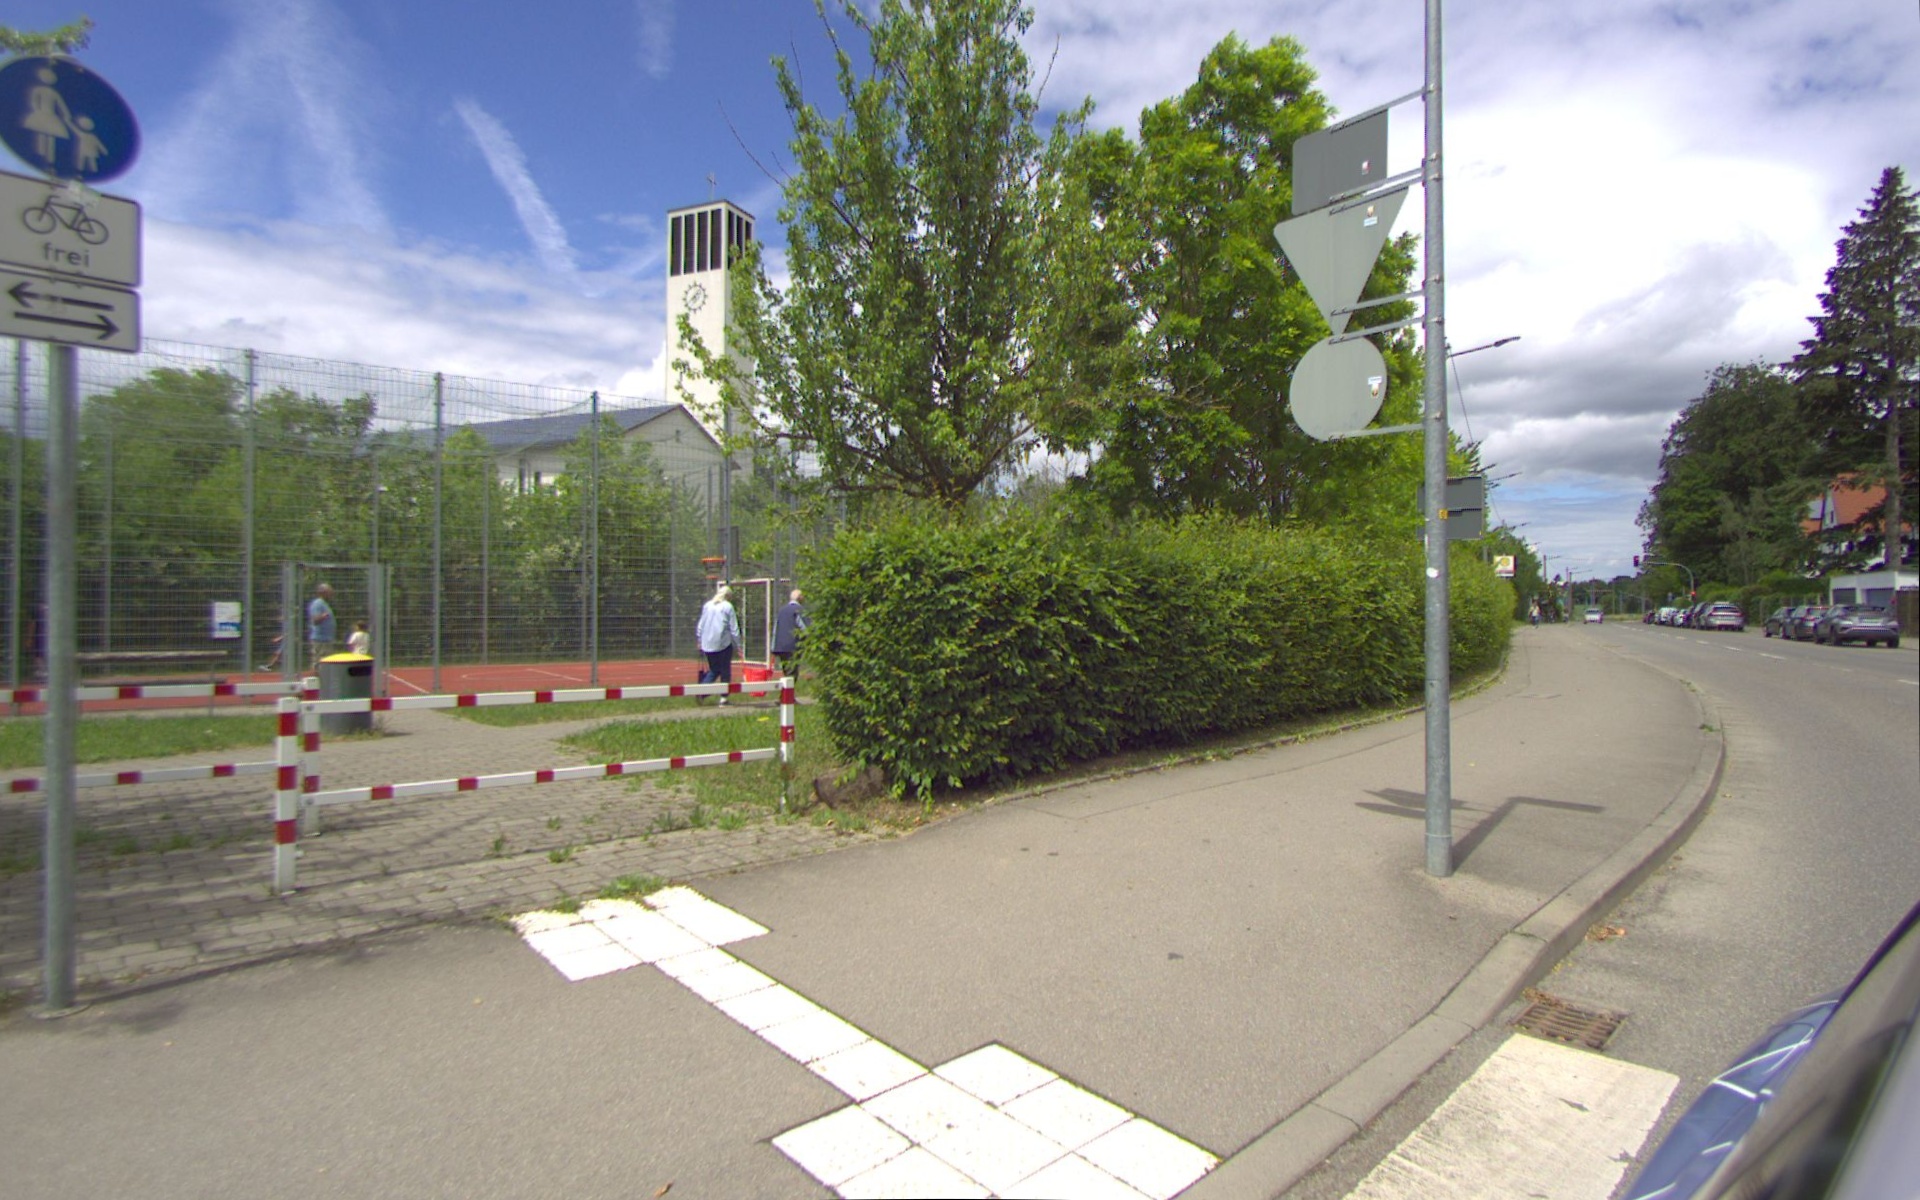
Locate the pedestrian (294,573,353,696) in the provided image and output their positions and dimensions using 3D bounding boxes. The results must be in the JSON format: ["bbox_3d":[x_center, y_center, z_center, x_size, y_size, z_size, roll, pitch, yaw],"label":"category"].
[{"bbox_3d":[-9.943,0.532,15.810,0.737,1.864,0.552,0,-2,-36],"label":"pedestrian"}]

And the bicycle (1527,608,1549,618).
[{"bbox_3d":[65.040,1.473,113.941,2.082,1.094,0.539,0,0,37],"label":"bicycle"}]

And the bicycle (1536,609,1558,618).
[{"bbox_3d":[70.016,1.647,120.715,2.190,1.061,0.446,-1,-1,32],"label":"bicycle"}]

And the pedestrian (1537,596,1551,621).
[{"bbox_3d":[38.998,0.575,67.628,0.684,1.680,0.681,-3,-2,37],"label":"pedestrian"}]

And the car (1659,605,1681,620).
[{"bbox_3d":[74.292,1.299,105.870,1.700,1.471,4.299,3,1,36],"label":"car"}]

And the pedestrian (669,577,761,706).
[{"bbox_3d":[-3.407,0.572,14.136,0.883,1.715,0.926,-2,-2,18],"label":"pedestrian"}]

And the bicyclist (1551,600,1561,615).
[{"bbox_3d":[60.552,0.766,102.761,0.821,1.558,0.852,-1,-2,32],"label":"bicyclist"}]

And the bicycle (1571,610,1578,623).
[{"bbox_3d":[61.831,1.633,101.844,0.447,1.302,2.185,-2,-2,28],"label":"bicycle"}]

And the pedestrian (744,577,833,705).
[{"bbox_3d":[-2.388,0.568,14.194,0.883,1.715,0.926,-2,-2,18],"label":"pedestrian"}]

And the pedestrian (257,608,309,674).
[{"bbox_3d":[-14.328,0.855,21.420,0.782,1.364,0.463,-1,-2,-8],"label":"pedestrian"}]

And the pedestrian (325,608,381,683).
[{"bbox_3d":[-11.271,0.834,18.795,0.461,1.364,0.786,-3,-2,44],"label":"pedestrian"}]

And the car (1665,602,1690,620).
[{"bbox_3d":[71.848,1.101,101.398,1.669,1.780,4.554,1,0,32],"label":"car"}]

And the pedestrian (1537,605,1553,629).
[{"bbox_3d":[41.762,1.196,72.209,0.837,1.680,0.756,-3,-2,37],"label":"pedestrian"}]

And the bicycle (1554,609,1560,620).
[{"bbox_3d":[60.532,1.458,102.593,0.448,1.164,2.182,-1,-1,32],"label":"bicycle"}]

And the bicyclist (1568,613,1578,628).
[{"bbox_3d":[61.854,2.056,102.093,0.820,1.558,0.852,-2,-2,31],"label":"bicyclist"}]

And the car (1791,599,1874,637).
[{"bbox_3d":[35.468,0.696,41.236,1.858,1.477,4.438,0,0,32],"label":"car"}]

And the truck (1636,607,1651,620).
[{"bbox_3d":[124.271,2.477,184.004,2.180,2.402,6.822,1,0,33],"label":"truck"}]

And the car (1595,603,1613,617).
[{"bbox_3d":[69.376,1.066,109.026,1.654,1.420,3.853,-1,-1,33],"label":"car"}]

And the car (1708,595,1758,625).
[{"bbox_3d":[48.277,0.629,63.278,1.975,1.842,4.655,-1,-1,31],"label":"car"}]

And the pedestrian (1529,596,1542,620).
[{"bbox_3d":[47.135,0.661,82.946,0.743,1.907,0.790,-3,-2,39],"label":"pedestrian"}]

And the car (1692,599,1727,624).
[{"bbox_3d":[54.547,0.823,73.692,1.619,1.699,4.532,2,0,31],"label":"car"}]

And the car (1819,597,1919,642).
[{"bbox_3d":[32.843,0.665,36.666,1.985,1.498,4.592,1,0,33],"label":"car"}]

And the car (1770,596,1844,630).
[{"bbox_3d":[38.069,0.585,45.580,1.640,1.445,3.869,1,0,26],"label":"car"}]

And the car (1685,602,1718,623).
[{"bbox_3d":[58.023,0.978,79.266,1.799,1.477,5.007,1,0,33],"label":"car"}]
